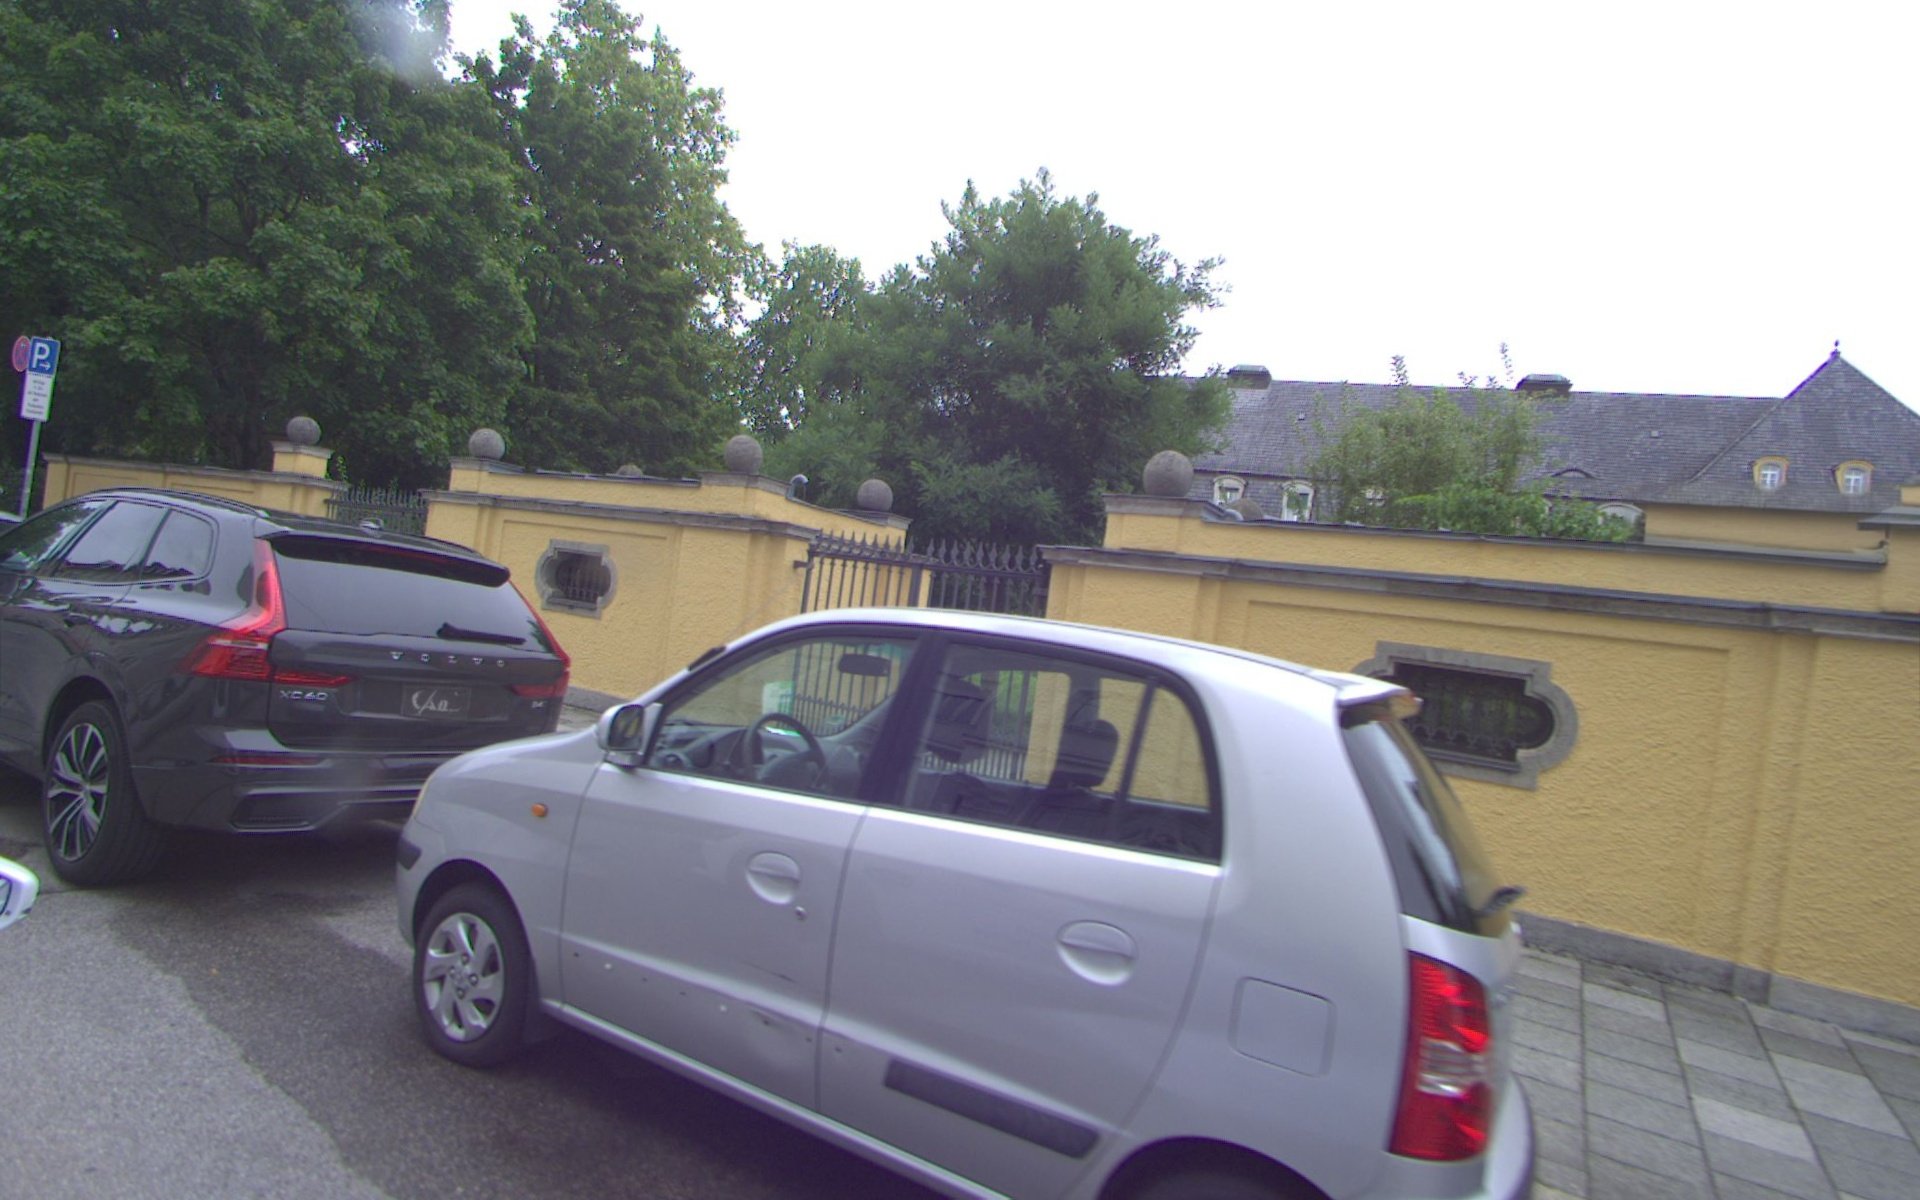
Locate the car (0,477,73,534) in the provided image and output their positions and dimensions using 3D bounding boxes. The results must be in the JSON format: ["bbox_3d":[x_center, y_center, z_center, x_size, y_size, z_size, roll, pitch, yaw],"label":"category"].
[{"bbox_3d":[-38.396,-3.942,39.564,1.802,1.941,4.849,6,-2,23],"label":"car"}]

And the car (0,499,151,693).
[{"bbox_3d":[-9.315,-0.283,8.801,4.294,1.464,1.890,7,-2,29],"label":"car"}]

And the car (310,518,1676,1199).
[{"bbox_3d":[-0.163,0.780,3.167,3.629,1.557,1.489,7,-2,29],"label":"car"}]

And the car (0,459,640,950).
[{"bbox_3d":[-4.272,0.260,5.599,4.742,1.671,1.890,7,-2,30],"label":"car"}]
